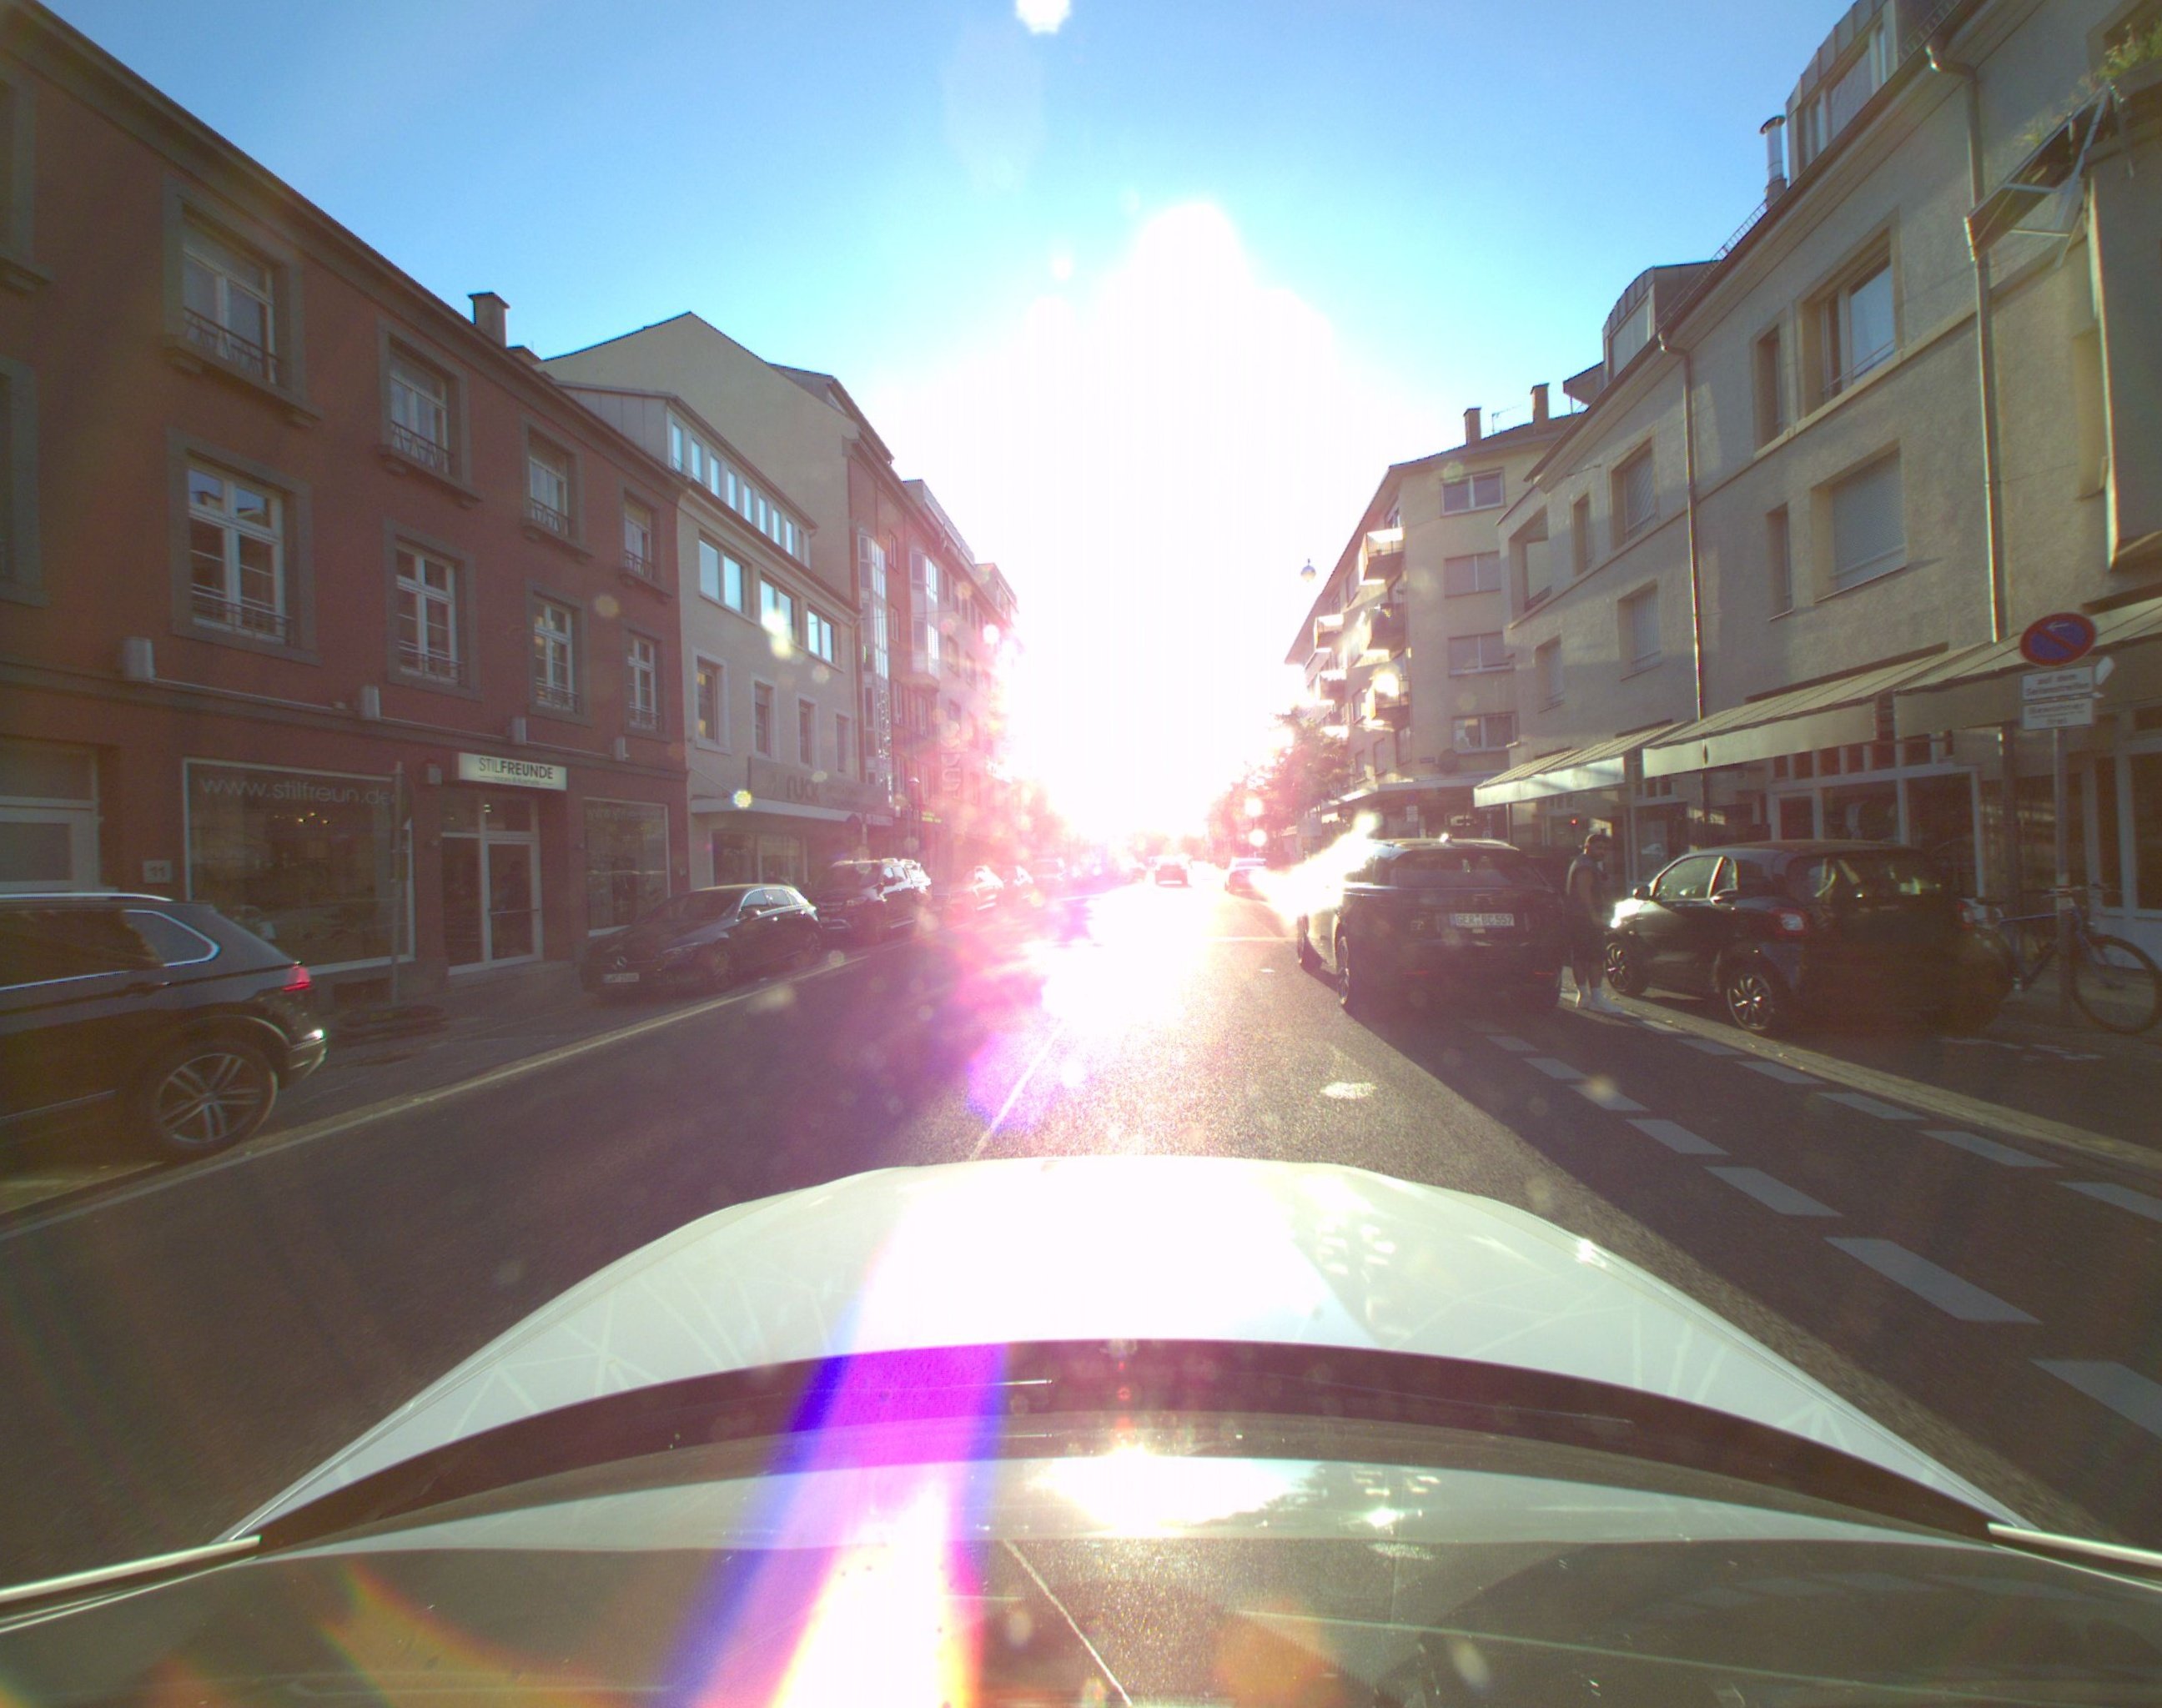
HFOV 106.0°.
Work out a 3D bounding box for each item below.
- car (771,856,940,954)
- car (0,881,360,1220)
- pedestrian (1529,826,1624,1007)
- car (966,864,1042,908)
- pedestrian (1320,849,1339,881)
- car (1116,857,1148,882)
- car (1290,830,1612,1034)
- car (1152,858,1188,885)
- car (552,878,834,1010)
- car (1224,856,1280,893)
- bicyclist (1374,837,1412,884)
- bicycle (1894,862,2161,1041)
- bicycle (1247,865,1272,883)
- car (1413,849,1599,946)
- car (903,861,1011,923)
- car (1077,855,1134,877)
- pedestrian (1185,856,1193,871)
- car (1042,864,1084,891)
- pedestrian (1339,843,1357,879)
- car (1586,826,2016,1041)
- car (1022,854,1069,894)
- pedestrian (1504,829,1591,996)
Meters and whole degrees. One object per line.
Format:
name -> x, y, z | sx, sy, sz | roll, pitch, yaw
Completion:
car -> -4.898, 1.012, 18.644 | 1.818, 1.810, 5.356 | -4, 0, 5
car -> -6.357, 1.074, 3.815 | 1.764, 1.633, 4.247 | -4, -1, 8
pedestrian -> 4.796, 0.586, 7.899 | 0.443, 1.665, 0.562 | -3, -1, -18
car -> -2.861, 1.166, 31.191 | 1.817, 1.439, 4.562 | -5, -1, 7
pedestrian -> 12.235, 0.529, 40.117 | 0.684, 1.559, 0.864 | -2, -1, 7
car -> 3.587, 1.054, 56.814 | 1.911, 1.602, 4.334 | -2, 0, 7
car -> 3.636, 0.645, 9.066 | 1.984, 1.655, 4.684 | 0, 0, 7
car -> 5.104, 0.941, 46.312 | 1.873, 1.415, 4.334 | -2, 0, 7
car -> -5.538, 1.204, 12.360 | 1.704, 1.440, 4.318 | -4, -1, 7
car -> 6.939, 0.810, 33.495 | 1.911, 1.415, 4.557 | 0, 0, 7
bicyclist -> 11.473, 0.241, 29.976 | 1.081, 1.702, 0.657 | -3, -1, 38
bicycle -> 7.711, 0.697, 6.645 | 0.395, 1.234, 1.828 | -3, 0, 5
bicycle -> 11.681, 1.284, 53.347 | 1.530, 1.145, 0.382 | -1, 1, 8
car -> 7.287, 0.679, 14.389 | 1.625, 1.424, 3.765 | -3, -1, 7
car -> -3.705, 1.084, 25.346 | 1.817, 1.556, 5.147 | -4, -1, 8
car -> 2.011, 0.964, 67.476 | 4.323, 1.602, 1.916 | -2, 0, -18
pedestrian -> 11.798, 1.057, 88.985 | 0.574, 1.644, 0.525 | -2, 0, -14
car -> -0.969, 1.320, 46.578 | 1.824, 1.328, 4.131 | -3, 0, 6
pedestrian -> 13.019, 0.348, 39.771 | 0.683, 1.721, 0.719 | -3, -1, 13
car -> 6.265, 0.610, 7.504 | 1.625, 1.553, 2.698 | -3, 0, 5
car -> -1.698, 0.966, 40.744 | 1.825, 1.854, 4.128 | -2, -1, 4
pedestrian -> 4.870, 0.593, 8.514 | 0.443, 1.665, 0.562 | -3, -1, -18
